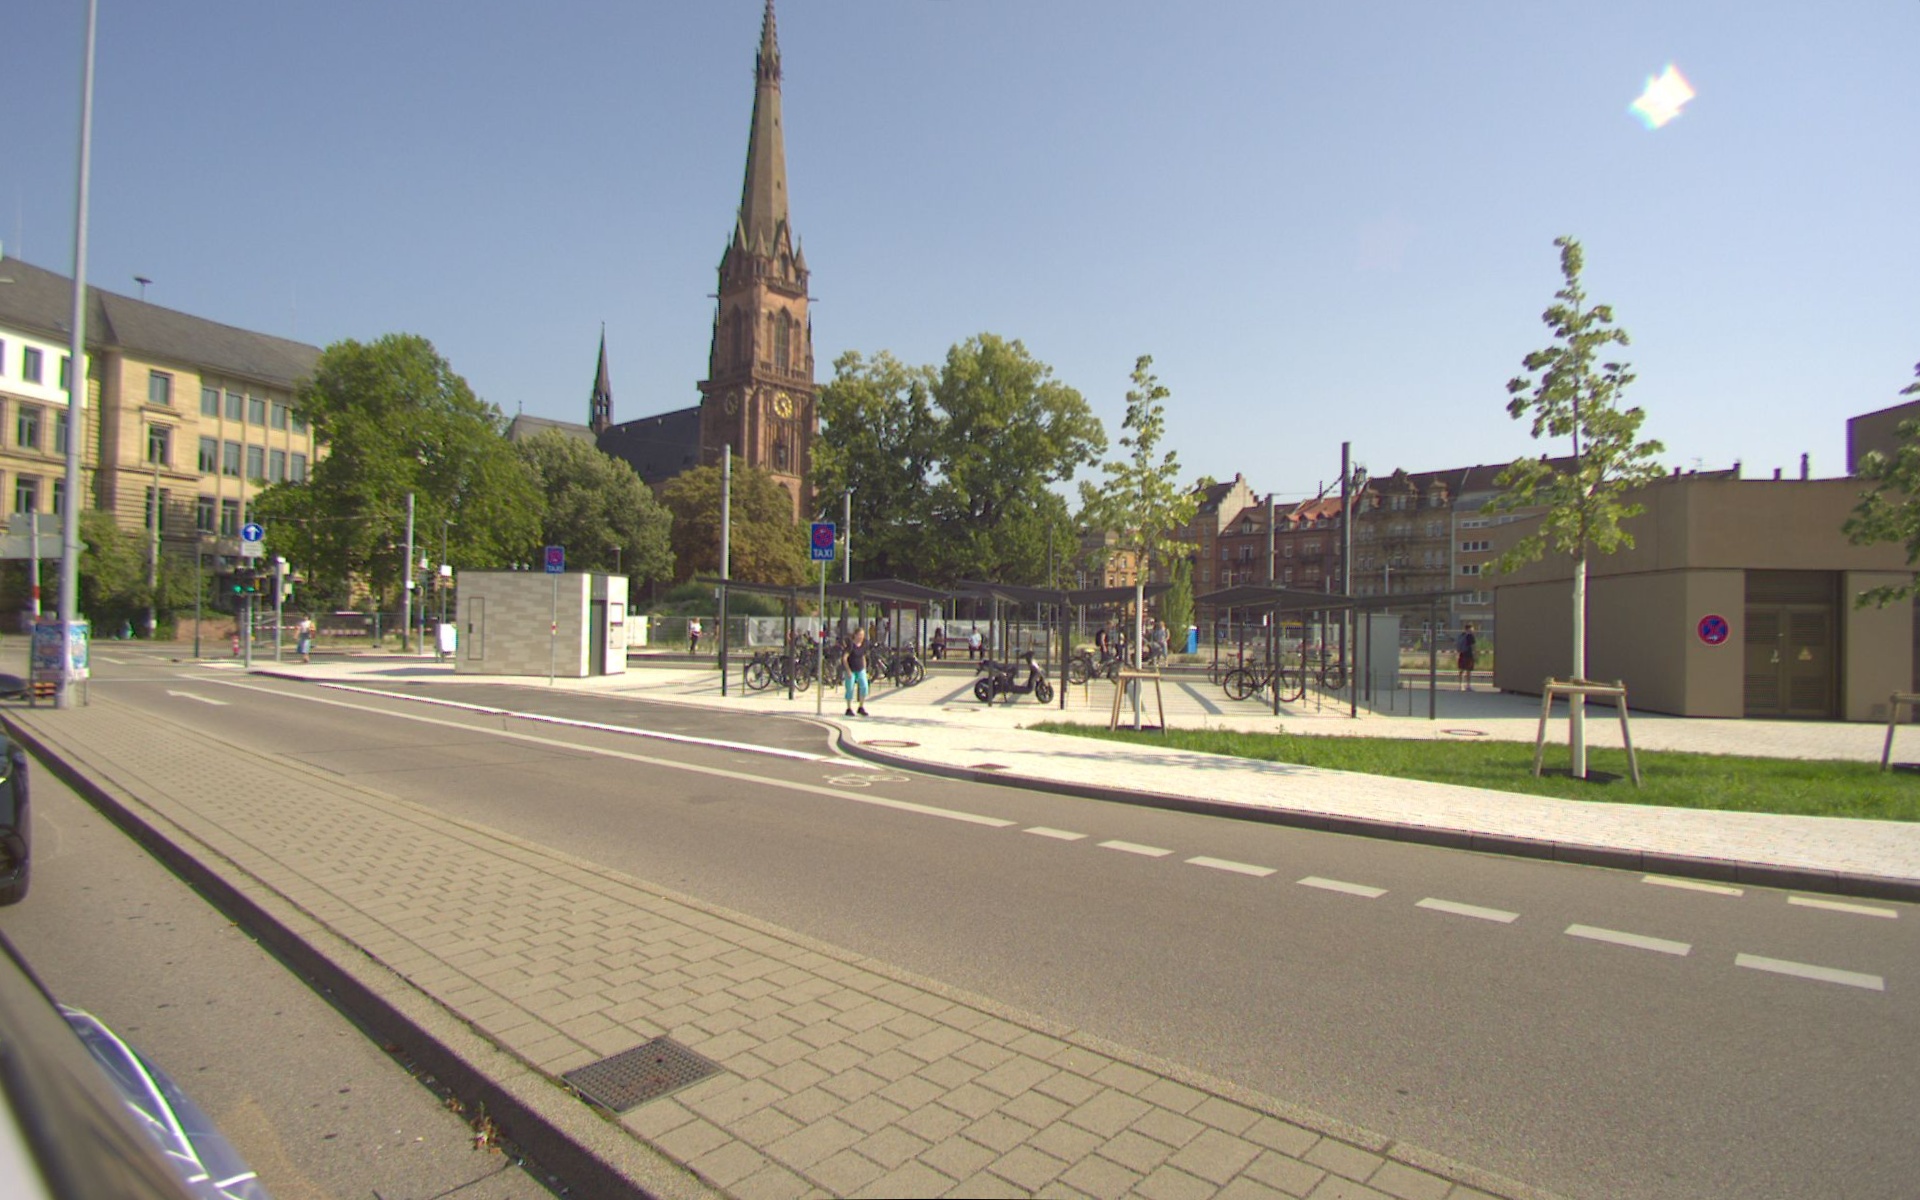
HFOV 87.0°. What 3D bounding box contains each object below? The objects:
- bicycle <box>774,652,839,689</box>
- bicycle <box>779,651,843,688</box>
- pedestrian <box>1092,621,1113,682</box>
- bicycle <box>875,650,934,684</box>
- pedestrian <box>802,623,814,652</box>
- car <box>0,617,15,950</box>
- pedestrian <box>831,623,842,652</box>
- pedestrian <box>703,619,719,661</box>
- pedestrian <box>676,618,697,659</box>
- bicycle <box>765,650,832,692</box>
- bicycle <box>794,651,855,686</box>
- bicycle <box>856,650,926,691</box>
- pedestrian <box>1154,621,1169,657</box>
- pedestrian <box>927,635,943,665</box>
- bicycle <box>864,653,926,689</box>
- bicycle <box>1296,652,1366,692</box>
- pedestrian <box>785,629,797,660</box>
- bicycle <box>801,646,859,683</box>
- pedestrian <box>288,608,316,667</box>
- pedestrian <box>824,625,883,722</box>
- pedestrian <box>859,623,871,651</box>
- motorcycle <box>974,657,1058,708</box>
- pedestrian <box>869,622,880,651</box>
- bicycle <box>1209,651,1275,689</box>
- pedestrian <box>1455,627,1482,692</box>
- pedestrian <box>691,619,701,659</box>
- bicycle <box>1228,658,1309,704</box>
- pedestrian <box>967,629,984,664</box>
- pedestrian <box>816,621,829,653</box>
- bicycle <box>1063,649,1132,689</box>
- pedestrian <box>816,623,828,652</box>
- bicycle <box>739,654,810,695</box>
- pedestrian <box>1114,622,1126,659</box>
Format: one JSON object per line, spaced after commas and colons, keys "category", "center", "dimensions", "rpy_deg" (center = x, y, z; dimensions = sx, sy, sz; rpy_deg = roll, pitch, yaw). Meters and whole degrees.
{"category": "bicycle", "center": [-3.880, 1.773, 25.590], "dimensions": [1.570, 0.899, 0.400], "rpy_deg": [1, -2, 9]}
{"category": "bicycle", "center": [-3.849, 1.787, 26.117], "dimensions": [1.570, 0.899, 0.409], "rpy_deg": [1, -2, 9]}
{"category": "pedestrian", "center": [4.279, 1.549, 30.359], "dimensions": [0.585, 1.815, 0.333], "rpy_deg": [1, -2, 4]}
{"category": "bicycle", "center": [-1.542, 1.853, 28.126], "dimensions": [1.570, 0.899, 0.409], "rpy_deg": [1, -2, 9]}
{"category": "pedestrian", "center": [-6.589, 1.636, 43.819], "dimensions": [0.379, 1.233, 0.438], "rpy_deg": [-1, 0, 10]}
{"category": "car", "center": [-6.559, 0.816, 5.550], "dimensions": [4.876, 1.451, 1.799], "rpy_deg": [0, 0, 44]}
{"category": "pedestrian", "center": [-5.374, 1.624, 44.108], "dimensions": [0.379, 1.233, 0.438], "rpy_deg": [-1, 0, 10]}
{"category": "pedestrian", "center": [-10.292, 1.668, 41.895], "dimensions": [0.510, 1.720, 0.505], "rpy_deg": [2, -2, -23]}
{"category": "pedestrian", "center": [-11.715, 1.641, 43.341], "dimensions": [0.389, 1.762, 0.707], "rpy_deg": [-1, -2, 40]}
{"category": "bicycle", "center": [-3.960, 1.726, 24.835], "dimensions": [1.570, 0.975, 0.420], "rpy_deg": [1, -2, 9]}
{"category": "bicycle", "center": [-3.654, 1.836, 27.249], "dimensions": [1.570, 0.899, 0.400], "rpy_deg": [1, -2, 9]}
{"category": "bicycle", "center": [-1.759, 1.793, 25.822], "dimensions": [1.694, 0.994, 0.532], "rpy_deg": [1, -2, 9]}
{"category": "pedestrian", "center": [8.192, 1.568, 41.125], "dimensions": [0.562, 1.432, 0.468], "rpy_deg": [-1, 0, 10]}
{"category": "pedestrian", "center": [-1.021, 2.072, 42.043], "dimensions": [0.568, 1.206, 0.466], "rpy_deg": [1, -2, 10]}
{"category": "bicycle", "center": [-1.718, 1.859, 26.764], "dimensions": [1.570, 0.899, 0.409], "rpy_deg": [1, -2, 9]}
{"category": "bicycle", "center": [10.173, 1.976, 27.790], "dimensions": [1.724, 1.028, 0.473], "rpy_deg": [1, -2, 8]}
{"category": "pedestrian", "center": [-7.330, 1.940, 43.941], "dimensions": [0.411, 1.328, 0.392], "rpy_deg": [-1, 0, 13]}
{"category": "bicycle", "center": [-3.654, 1.809, 28.478], "dimensions": [1.570, 0.985, 0.451], "rpy_deg": [1, 0, 9]}
{"category": "pedestrian", "center": [-22.959, 1.291, 35.315], "dimensions": [0.721, 2.029, 0.716], "rpy_deg": [2, -2, -38]}
{"category": "pedestrian", "center": [-1.793, 1.236, 17.126], "dimensions": [0.663, 1.577, 0.747], "rpy_deg": [0, -3, 25]}
{"category": "pedestrian", "center": [-4.164, 1.610, 44.326], "dimensions": [0.379, 1.233, 0.438], "rpy_deg": [-1, 0, 10]}
{"category": "motorcycle", "center": [1.198, 1.758, 21.618], "dimensions": [1.726, 1.017, 0.541], "rpy_deg": [1, -2, 9]}
{"category": "pedestrian", "center": [-3.738, 1.606, 44.271], "dimensions": [0.379, 1.233, 0.438], "rpy_deg": [-1, 0, 10]}
{"category": "bicycle", "center": [7.873, 1.947, 28.275], "dimensions": [1.726, 1.017, 0.400], "rpy_deg": [1, -2, 9]}
{"category": "pedestrian", "center": [14.258, 1.664, 28.389], "dimensions": [0.650, 1.783, 0.473], "rpy_deg": [0, -2, 33]}
{"category": "pedestrian", "center": [-11.425, 1.699, 43.875], "dimensions": [0.242, 1.707, 0.392], "rpy_deg": [1, -2, 9]}
{"category": "bicycle", "center": [7.118, 1.863, 23.389], "dimensions": [1.726, 1.017, 0.400], "rpy_deg": [1, -2, 9]}
{"category": "pedestrian", "center": [0.632, 1.924, 41.696], "dimensions": [0.636, 1.405, 0.661], "rpy_deg": [1, -2, 6]}
{"category": "pedestrian", "center": [-5.831, 1.569, 43.063], "dimensions": [0.430, 1.328, 0.438], "rpy_deg": [-1, 0, 10]}
{"category": "bicycle", "center": [3.746, 1.878, 27.560], "dimensions": [1.854, 1.017, 0.460], "rpy_deg": [1, -2, 9]}
{"category": "pedestrian", "center": [-5.958, 1.628, 43.796], "dimensions": [0.379, 1.233, 0.438], "rpy_deg": [-1, 0, 10]}
{"category": "bicycle", "center": [-4.322, 1.733, 23.570], "dimensions": [1.570, 0.899, 0.400], "rpy_deg": [1, -2, 9]}
{"category": "pedestrian", "center": [6.411, 1.624, 40.498], "dimensions": [0.464, 1.432, 0.567], "rpy_deg": [-1, 0, 10]}
